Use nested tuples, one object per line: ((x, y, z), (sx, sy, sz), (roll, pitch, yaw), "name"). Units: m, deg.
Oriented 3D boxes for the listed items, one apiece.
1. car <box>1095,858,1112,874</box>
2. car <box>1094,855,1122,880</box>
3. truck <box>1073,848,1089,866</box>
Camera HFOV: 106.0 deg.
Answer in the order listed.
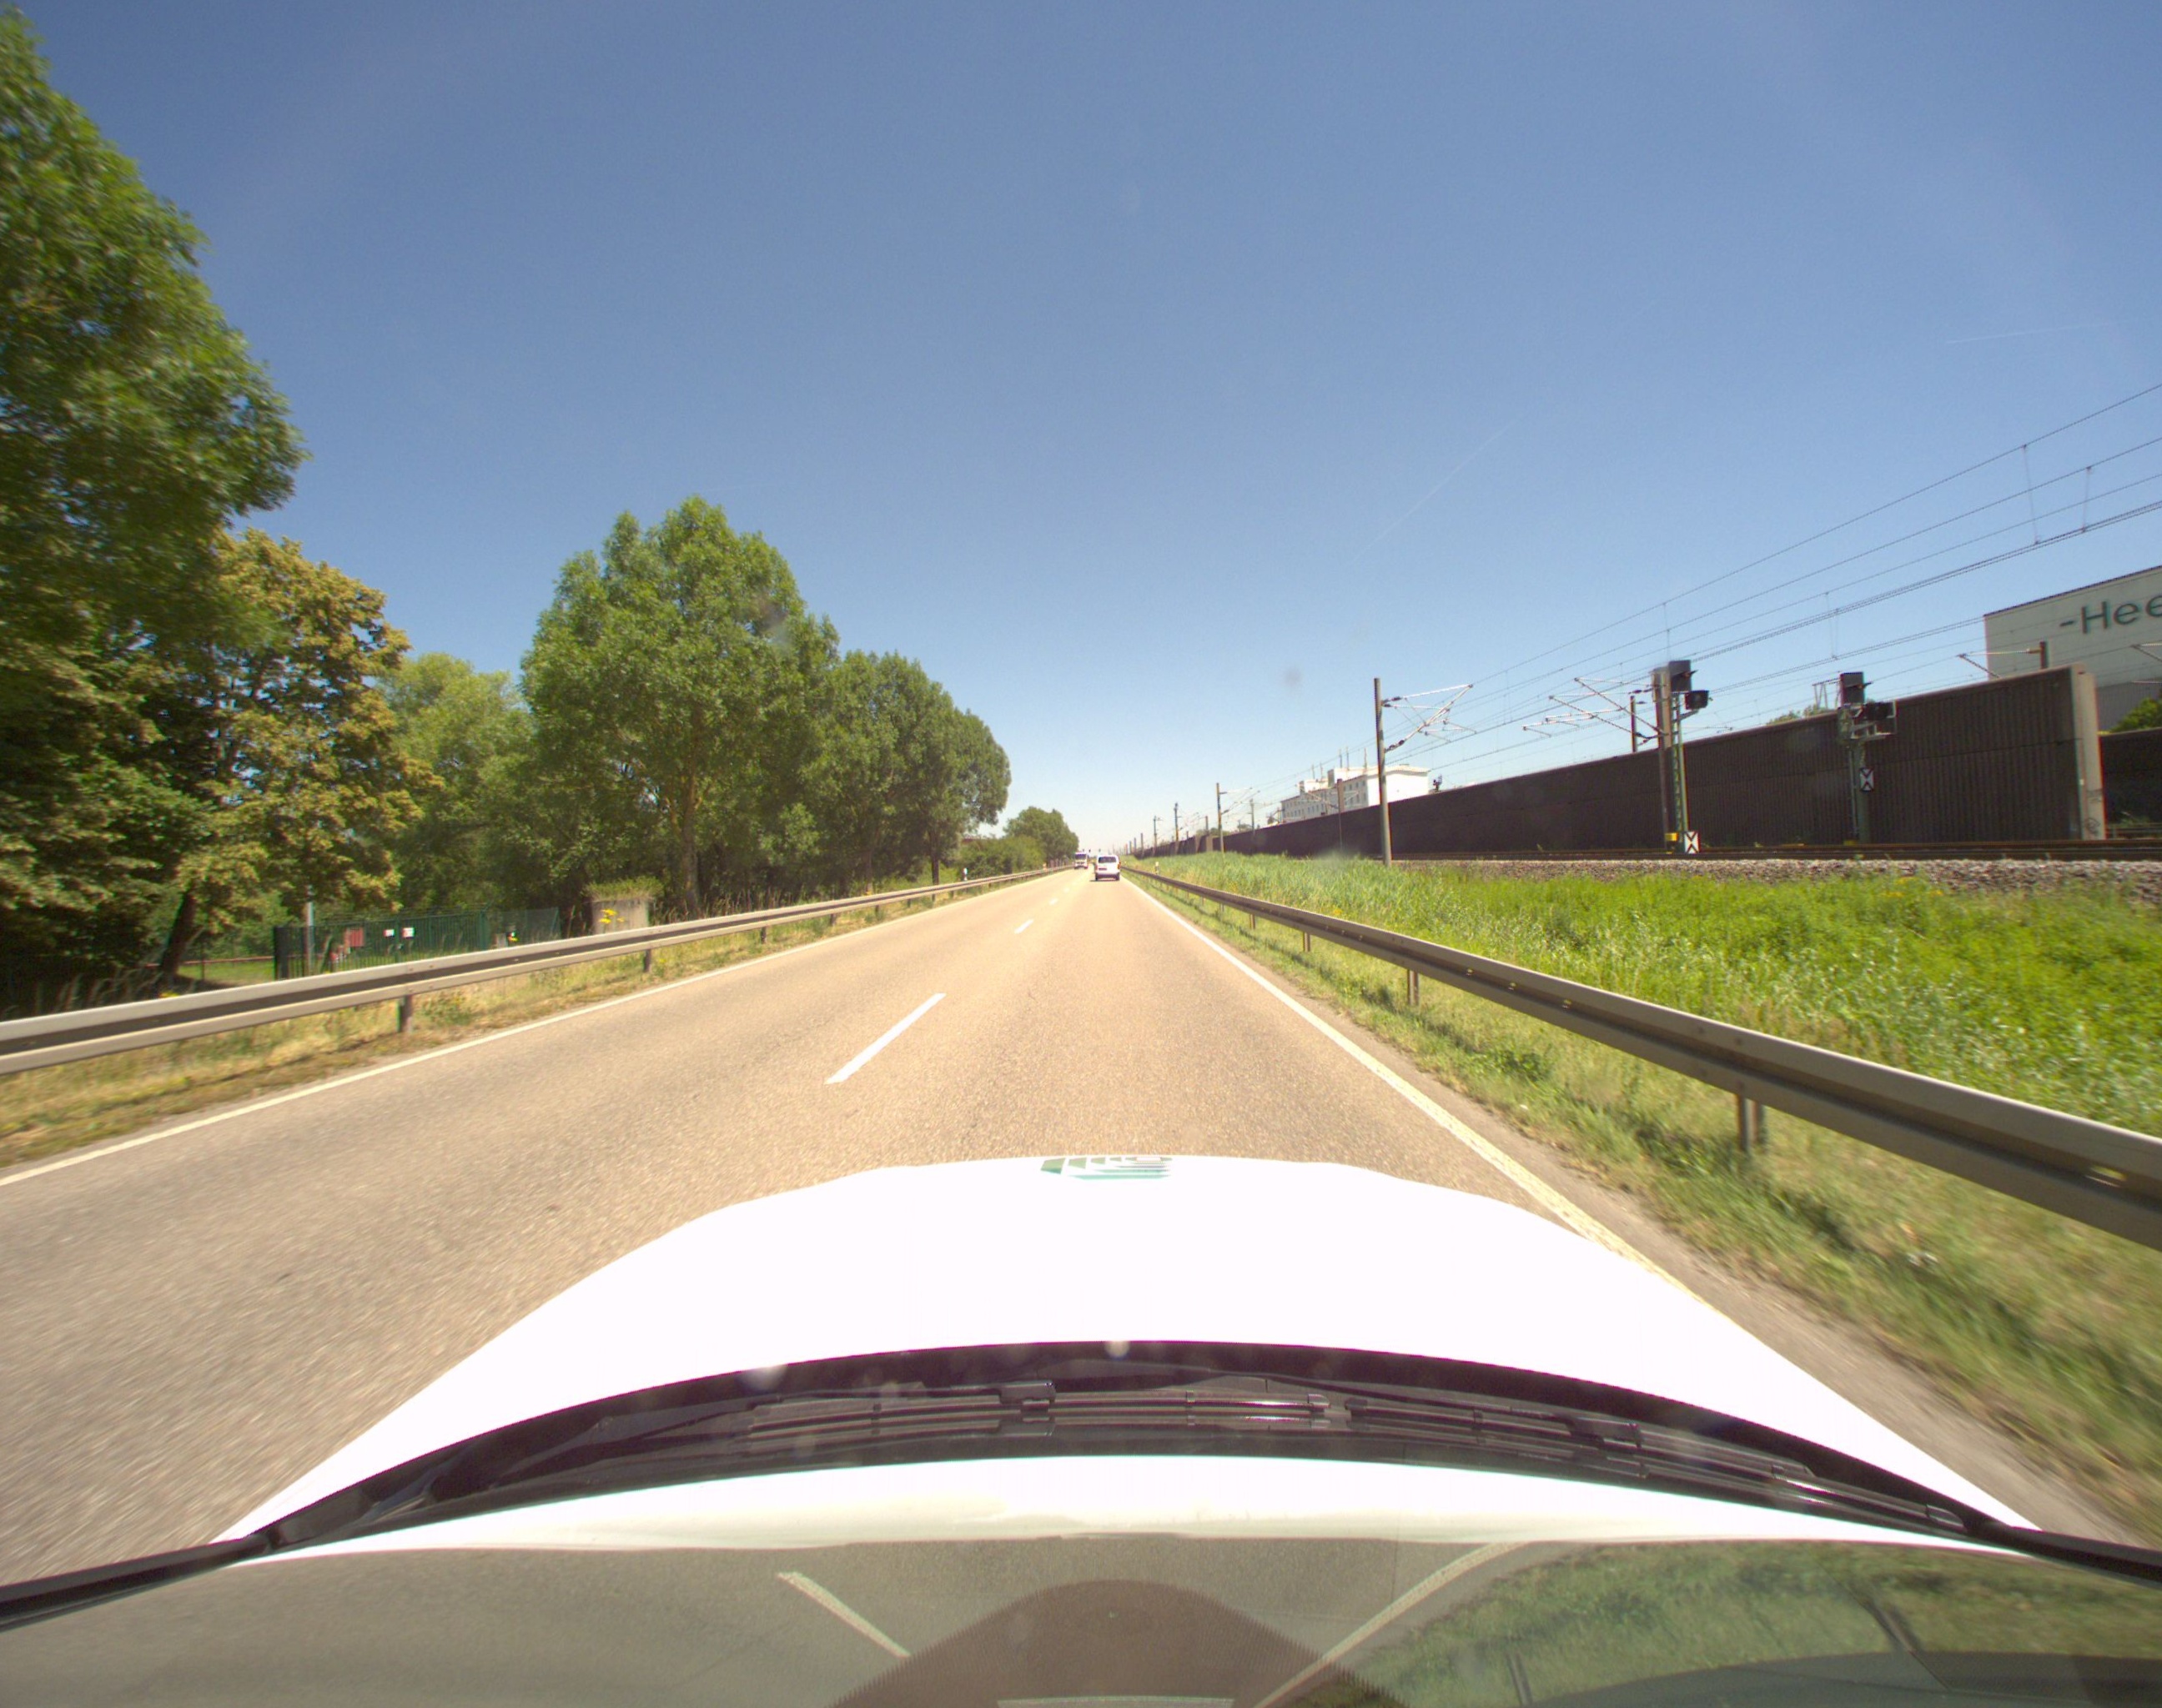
((2.743, 1.442, 99.542), (1.986, 1.850, 4.001), (-1, 0, 1), "car")
((2.054, 0.992, 62.162), (1.986, 1.850, 4.001), (-1, 0, 1), "car")
((0.036, 0.571, 156.046), (2.774, 3.405, 7.990), (-1, 0, 1), "truck")
